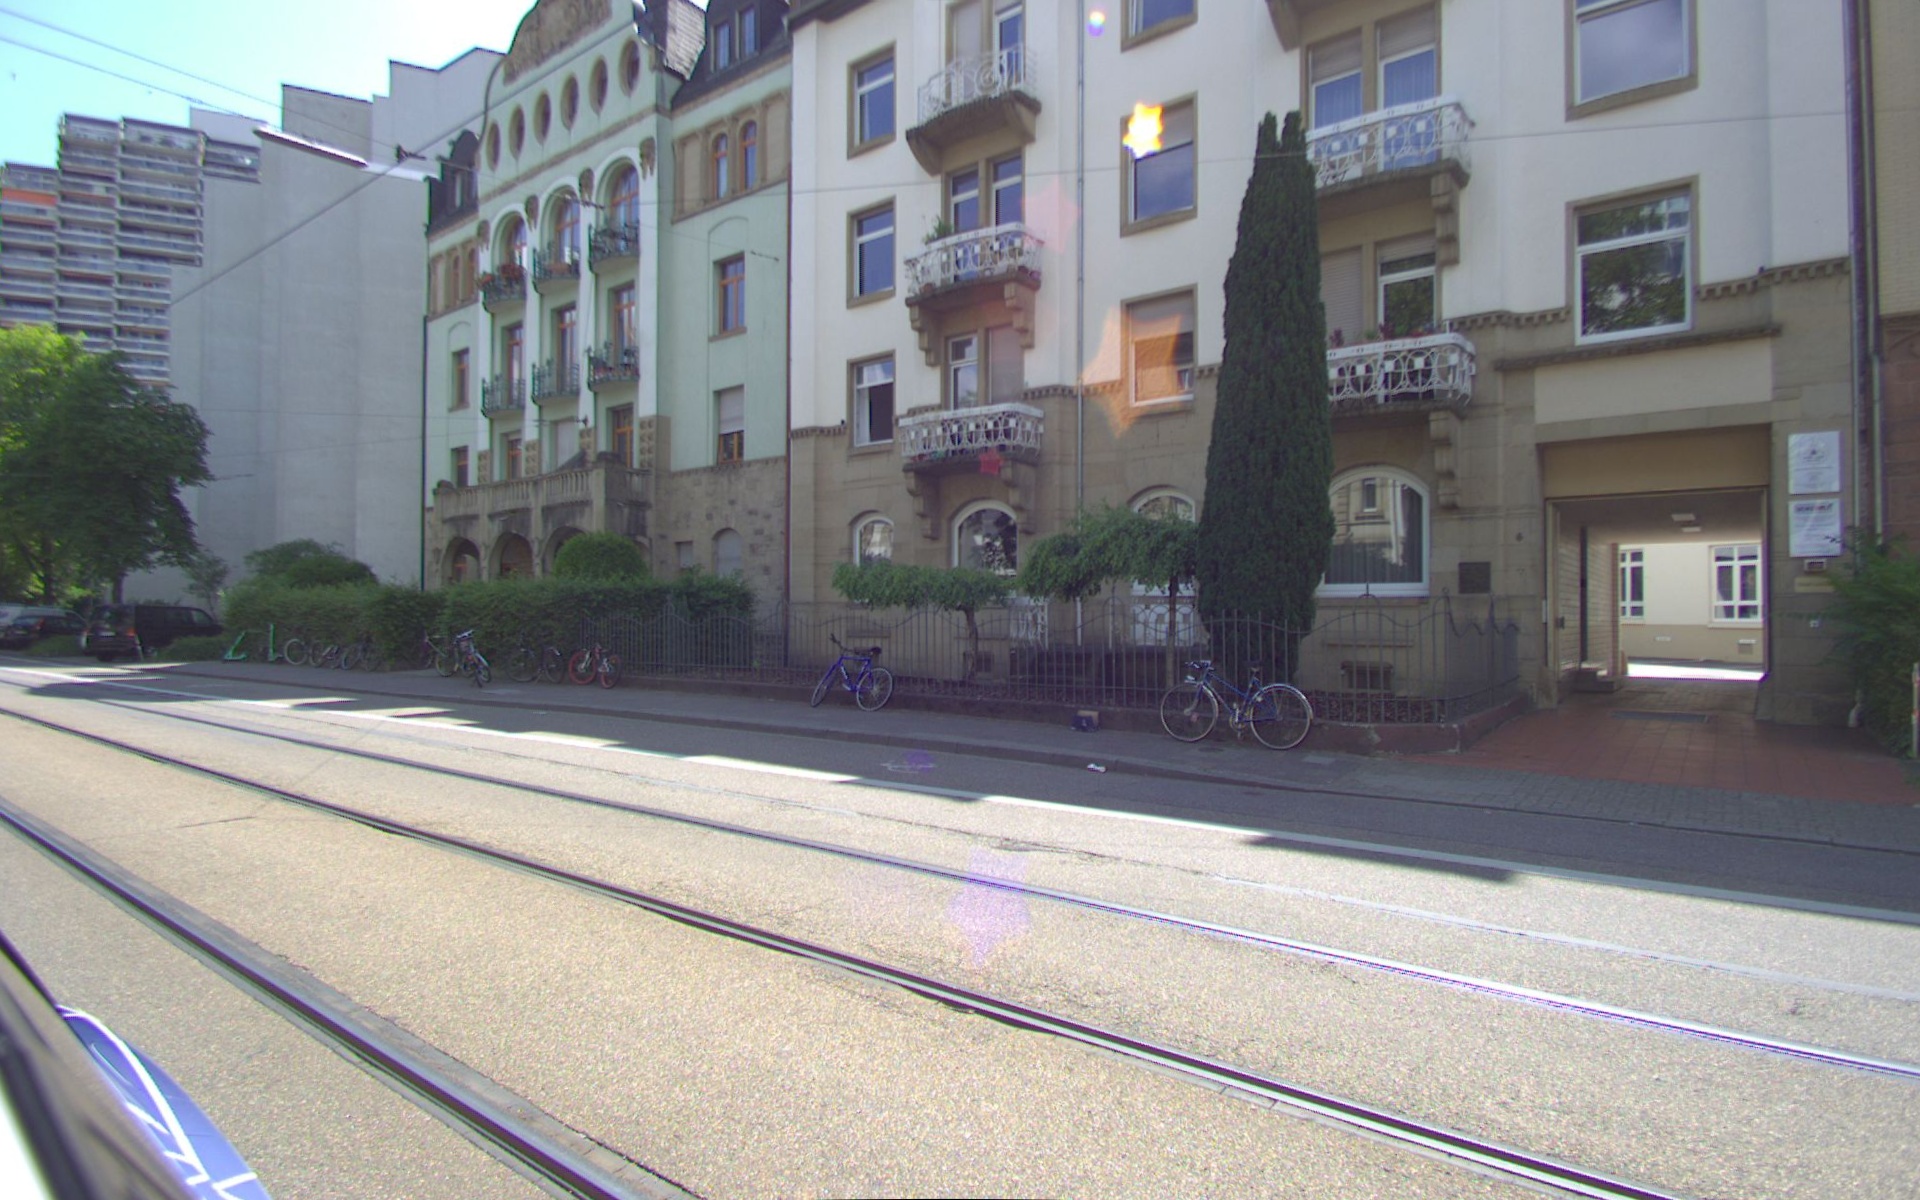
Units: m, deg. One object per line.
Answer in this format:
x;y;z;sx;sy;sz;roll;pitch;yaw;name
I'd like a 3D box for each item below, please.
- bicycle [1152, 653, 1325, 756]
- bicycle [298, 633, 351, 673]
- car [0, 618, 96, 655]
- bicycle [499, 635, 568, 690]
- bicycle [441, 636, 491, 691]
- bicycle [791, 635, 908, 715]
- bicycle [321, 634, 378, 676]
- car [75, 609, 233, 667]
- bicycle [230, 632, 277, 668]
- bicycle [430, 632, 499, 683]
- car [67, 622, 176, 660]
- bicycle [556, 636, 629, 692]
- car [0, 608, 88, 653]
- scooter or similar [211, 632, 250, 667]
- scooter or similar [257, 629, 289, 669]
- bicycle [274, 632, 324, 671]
3.071;1.129;11.284;1.839;0.968;0.406;0;2;38;bicycle
-16.846;1.384;26.819;1.705;0.996;0.602;-1;2;38;bicycle
-41.398;1.636;45.767;1.657;1.587;3.688;1;-1;-5;car
-8.502;1.219;20.123;1.705;1.006;0.460;-1;2;38;bicycle
-9.768;1.236;20.040;0.599;1.007;1.780;0;-1;-17;bicycle
-1.651;1.077;14.957;1.769;1.072;0.602;-1;2;38;bicycle
-15.458;1.381;25.622;1.769;0.983;0.602;-1;2;38;bicycle
-28.524;1.320;36.048;1.935;1.940;4.585;0;-1;0;car
-21.020;1.481;30.102;1.705;0.996;0.602;-1;2;38;bicycle
-10.892;1.241;22.226;1.769;1.040;0.602;-1;2;38;bicycle
-33.464;1.599;40.498;1.699;1.465;3.634;0;-1;-8;car
-6.951;1.189;19.122;1.723;0.973;0.409;-1;2;38;bicycle
-43.892;1.444;48.063;1.579;2.058;4.055;0;-1;-3;car
-22.436;1.515;31.119;1.216;1.028;0.404;-1;-2;23;scooter or similar
-19.773;1.389;29.119;1.290;1.128;0.401;-1;-1;40;scooter or similar
-18.316;1.410;28.027;1.705;0.996;0.602;-1;2;38;bicycle
